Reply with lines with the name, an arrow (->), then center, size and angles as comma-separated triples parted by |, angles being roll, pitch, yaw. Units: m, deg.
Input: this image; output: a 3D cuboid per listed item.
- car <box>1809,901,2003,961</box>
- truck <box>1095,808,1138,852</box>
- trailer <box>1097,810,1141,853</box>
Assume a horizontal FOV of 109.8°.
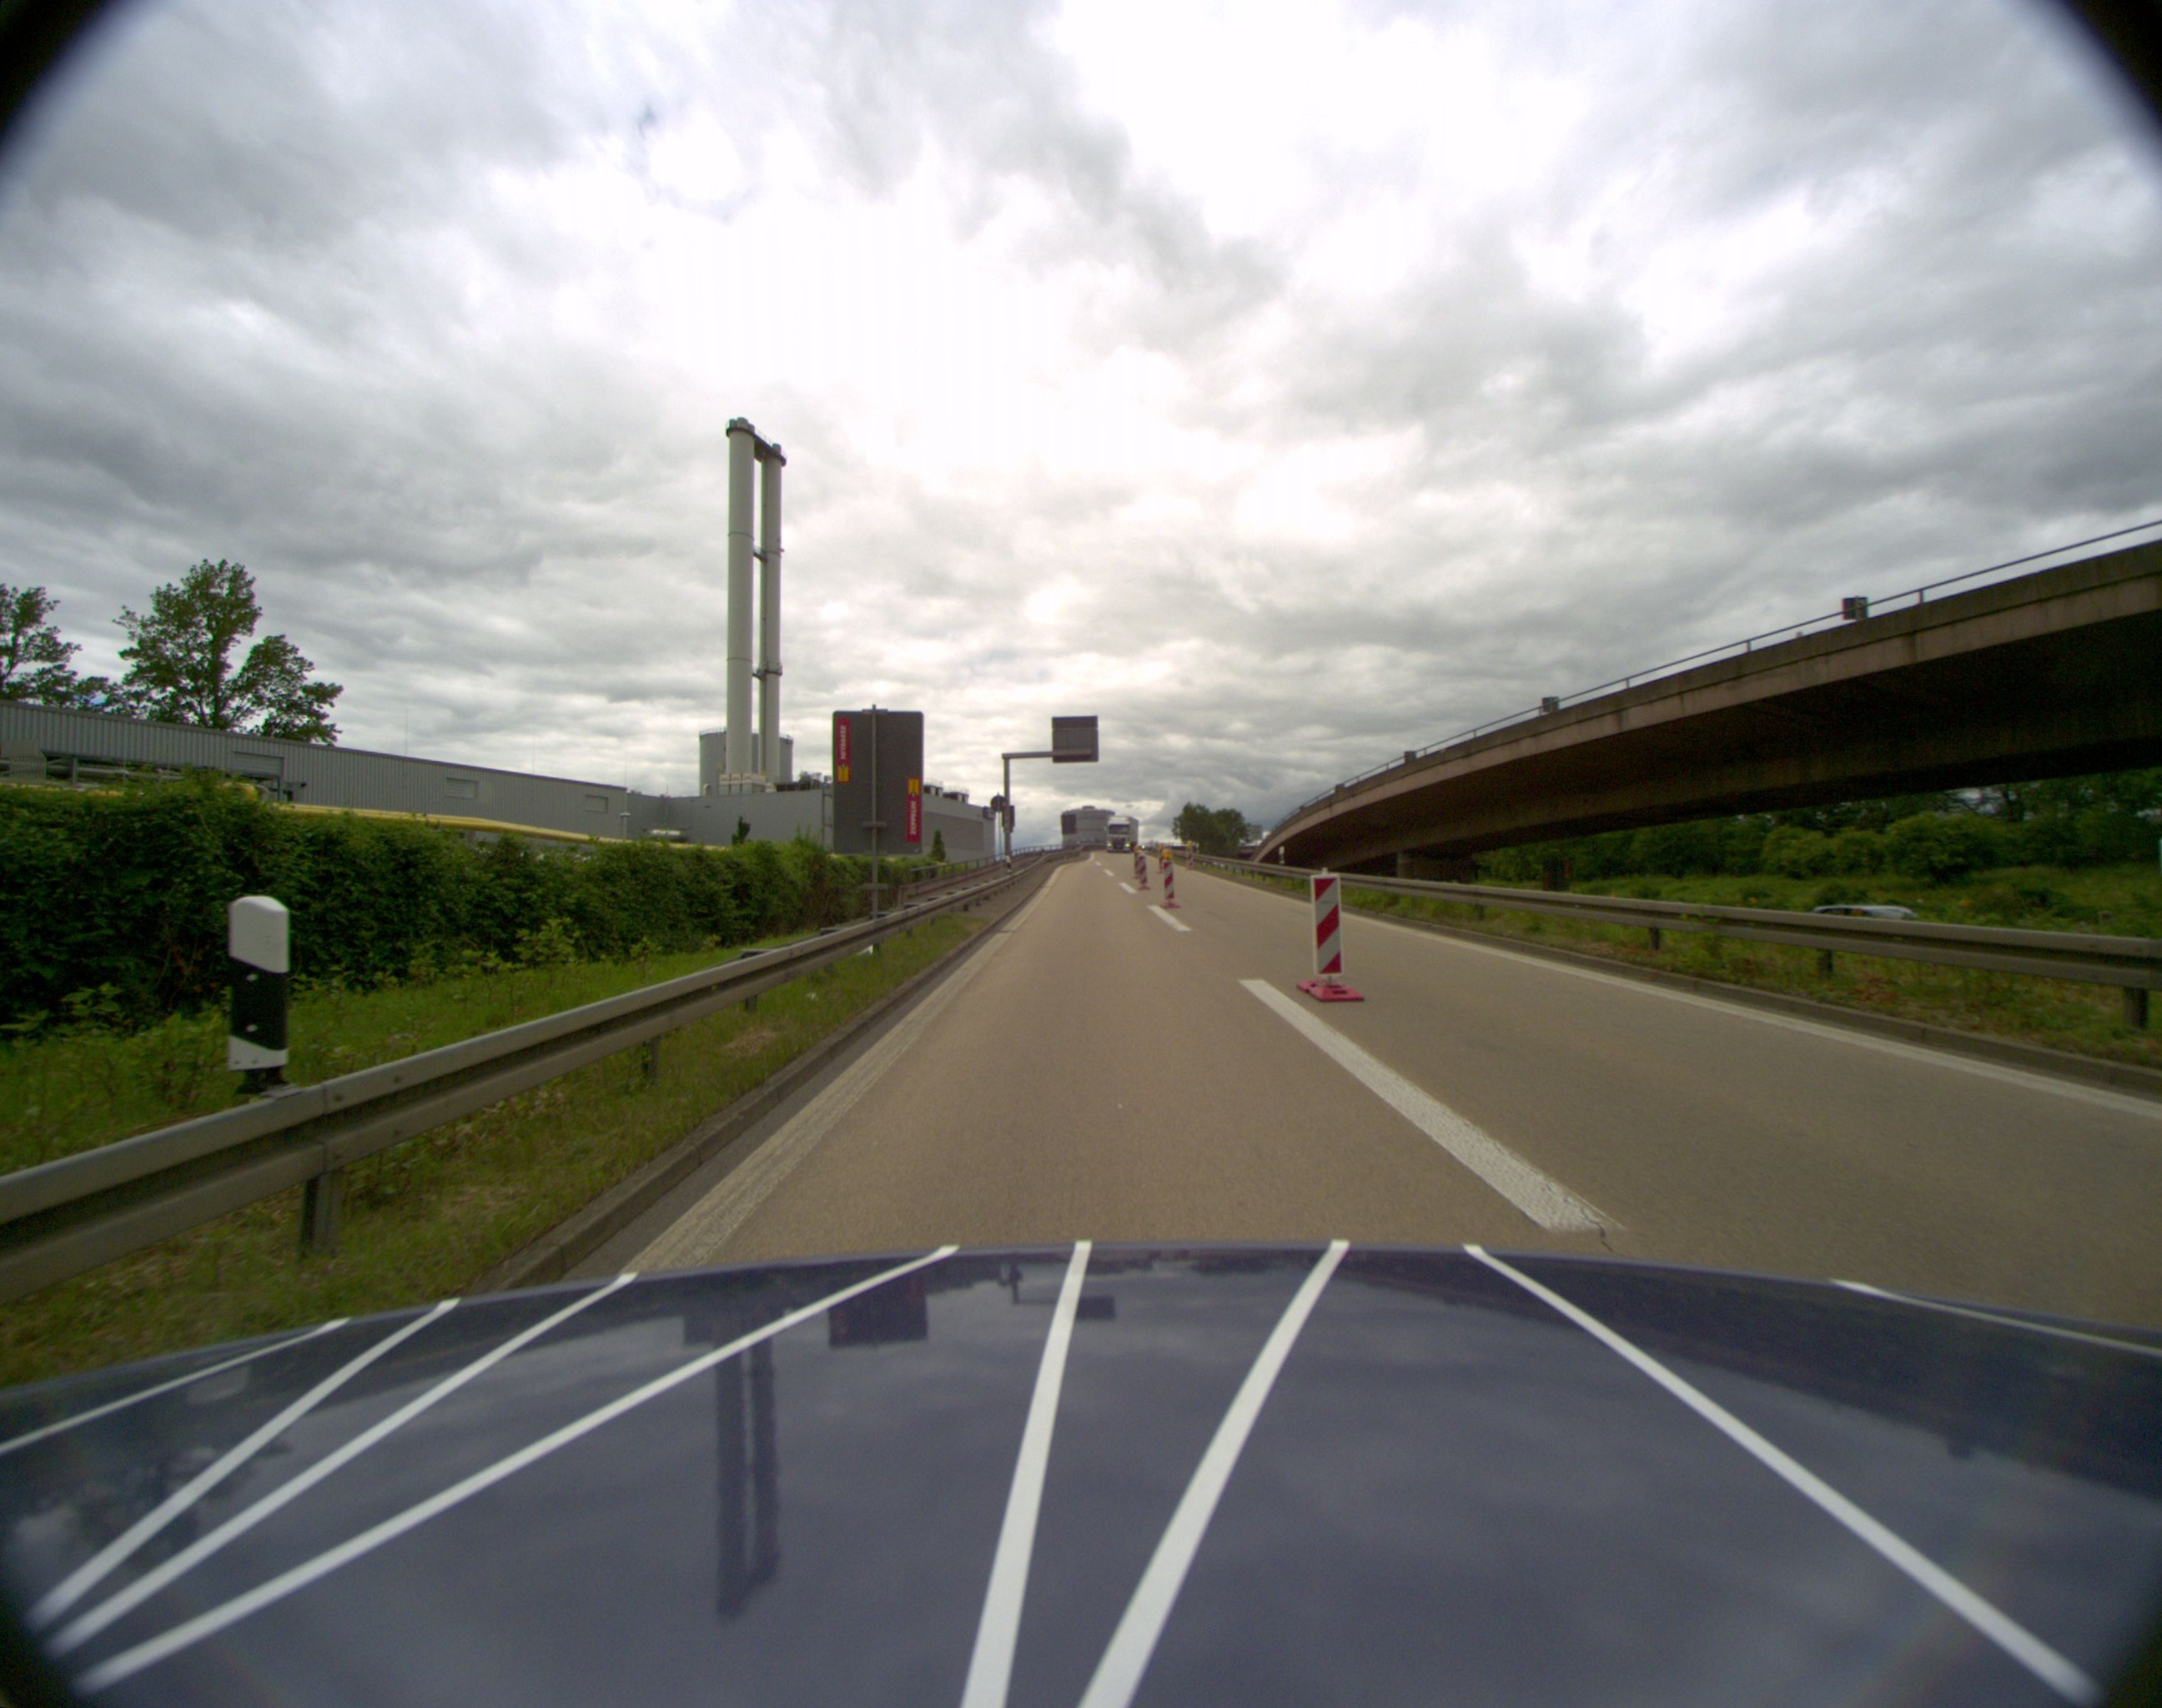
car -> 26.419, 2.419, 24.612 | 2.041, 1.605, 4.298 | -1, -1, 10
truck -> 3.922, -2.473, 81.935 | 4.162, 4.277, 5.969 | -1, -1, 6
trailer -> 4.611, -2.389, 88.066 | 4.123, 4.218, 13.901 | -1, -1, 7
